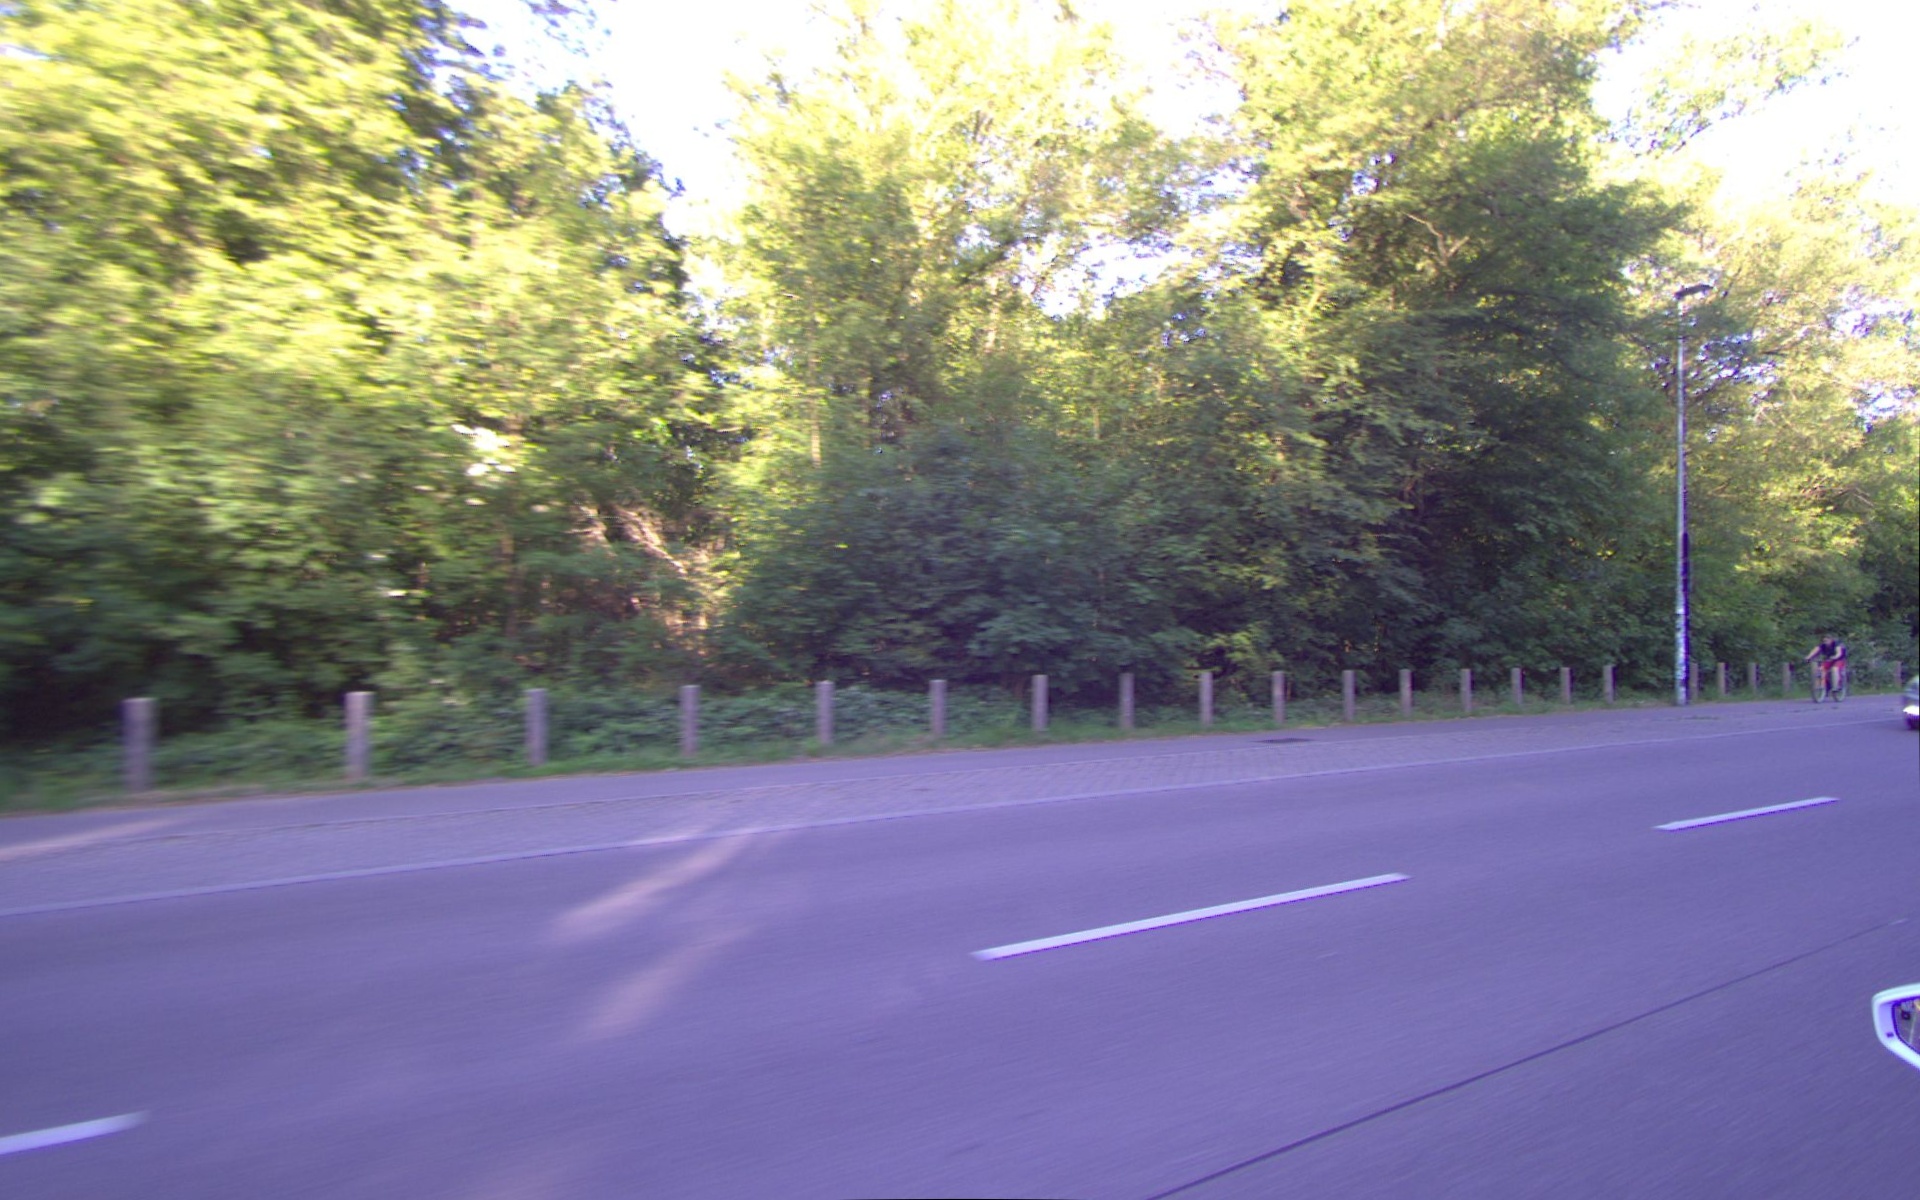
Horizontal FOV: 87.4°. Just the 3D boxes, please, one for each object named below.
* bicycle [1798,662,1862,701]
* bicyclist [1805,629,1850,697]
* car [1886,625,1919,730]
[{"bbox_3d":[19.556,1.829,22.568,1.786,0.824,0.493,1,-4,-30],"label":"bicycle"},{"bbox_3d":[19.435,1.405,22.507,0.752,1.503,0.497,1,-3,-29],"label":"bicyclist"},{"bbox_3d":[16.510,1.205,15.535,4.473,1.552,1.890,2,-1,-28],"label":"car"}]
